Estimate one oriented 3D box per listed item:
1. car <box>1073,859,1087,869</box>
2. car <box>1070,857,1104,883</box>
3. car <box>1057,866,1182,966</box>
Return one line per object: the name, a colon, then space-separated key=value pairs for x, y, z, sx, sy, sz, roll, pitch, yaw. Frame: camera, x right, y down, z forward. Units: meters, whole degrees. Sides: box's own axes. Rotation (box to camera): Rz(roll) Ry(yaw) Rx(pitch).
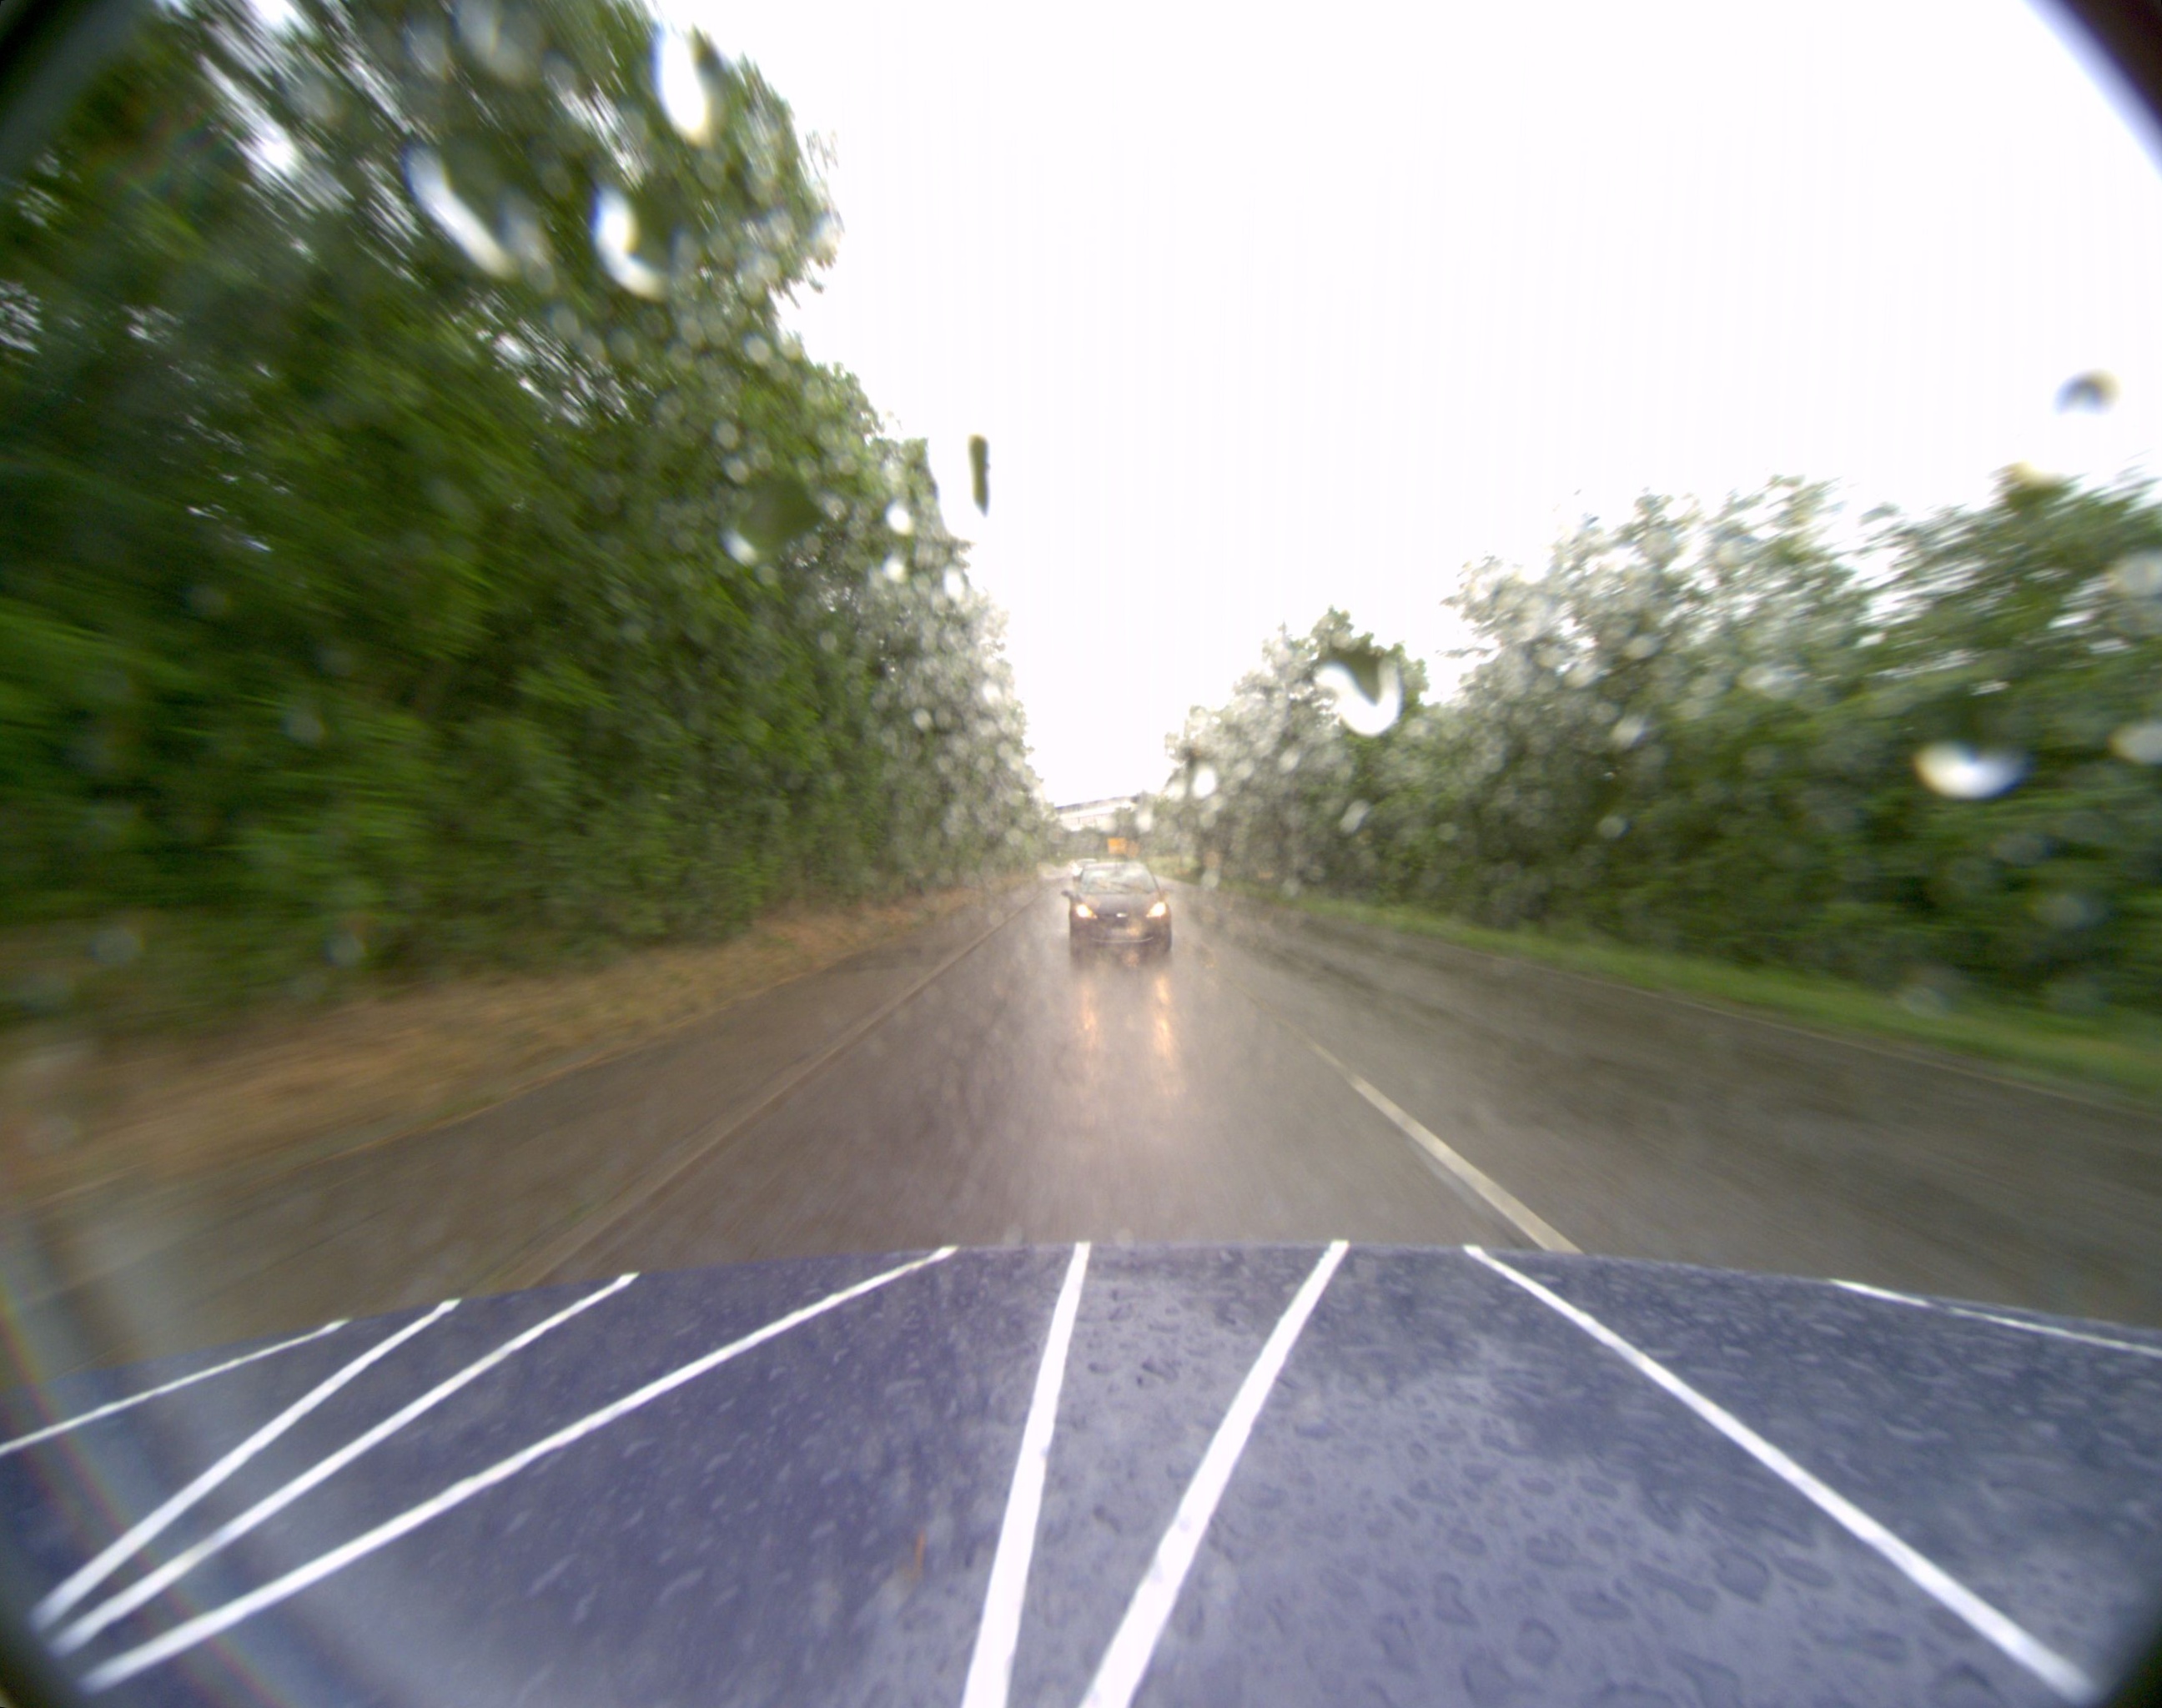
car: x=-0.143 y=1.572 z=118.801 sx=1.954 sy=1.433 sz=4.376 roll=-5 pitch=1 yaw=-2
car: x=0.332 y=0.961 z=46.585 sx=1.874 sy=1.432 sz=4.377 roll=-3 pitch=0 yaw=-1
car: x=0.557 y=0.995 z=13.926 sx=1.874 sy=1.432 sz=4.377 roll=-2 pitch=0 yaw=-1
